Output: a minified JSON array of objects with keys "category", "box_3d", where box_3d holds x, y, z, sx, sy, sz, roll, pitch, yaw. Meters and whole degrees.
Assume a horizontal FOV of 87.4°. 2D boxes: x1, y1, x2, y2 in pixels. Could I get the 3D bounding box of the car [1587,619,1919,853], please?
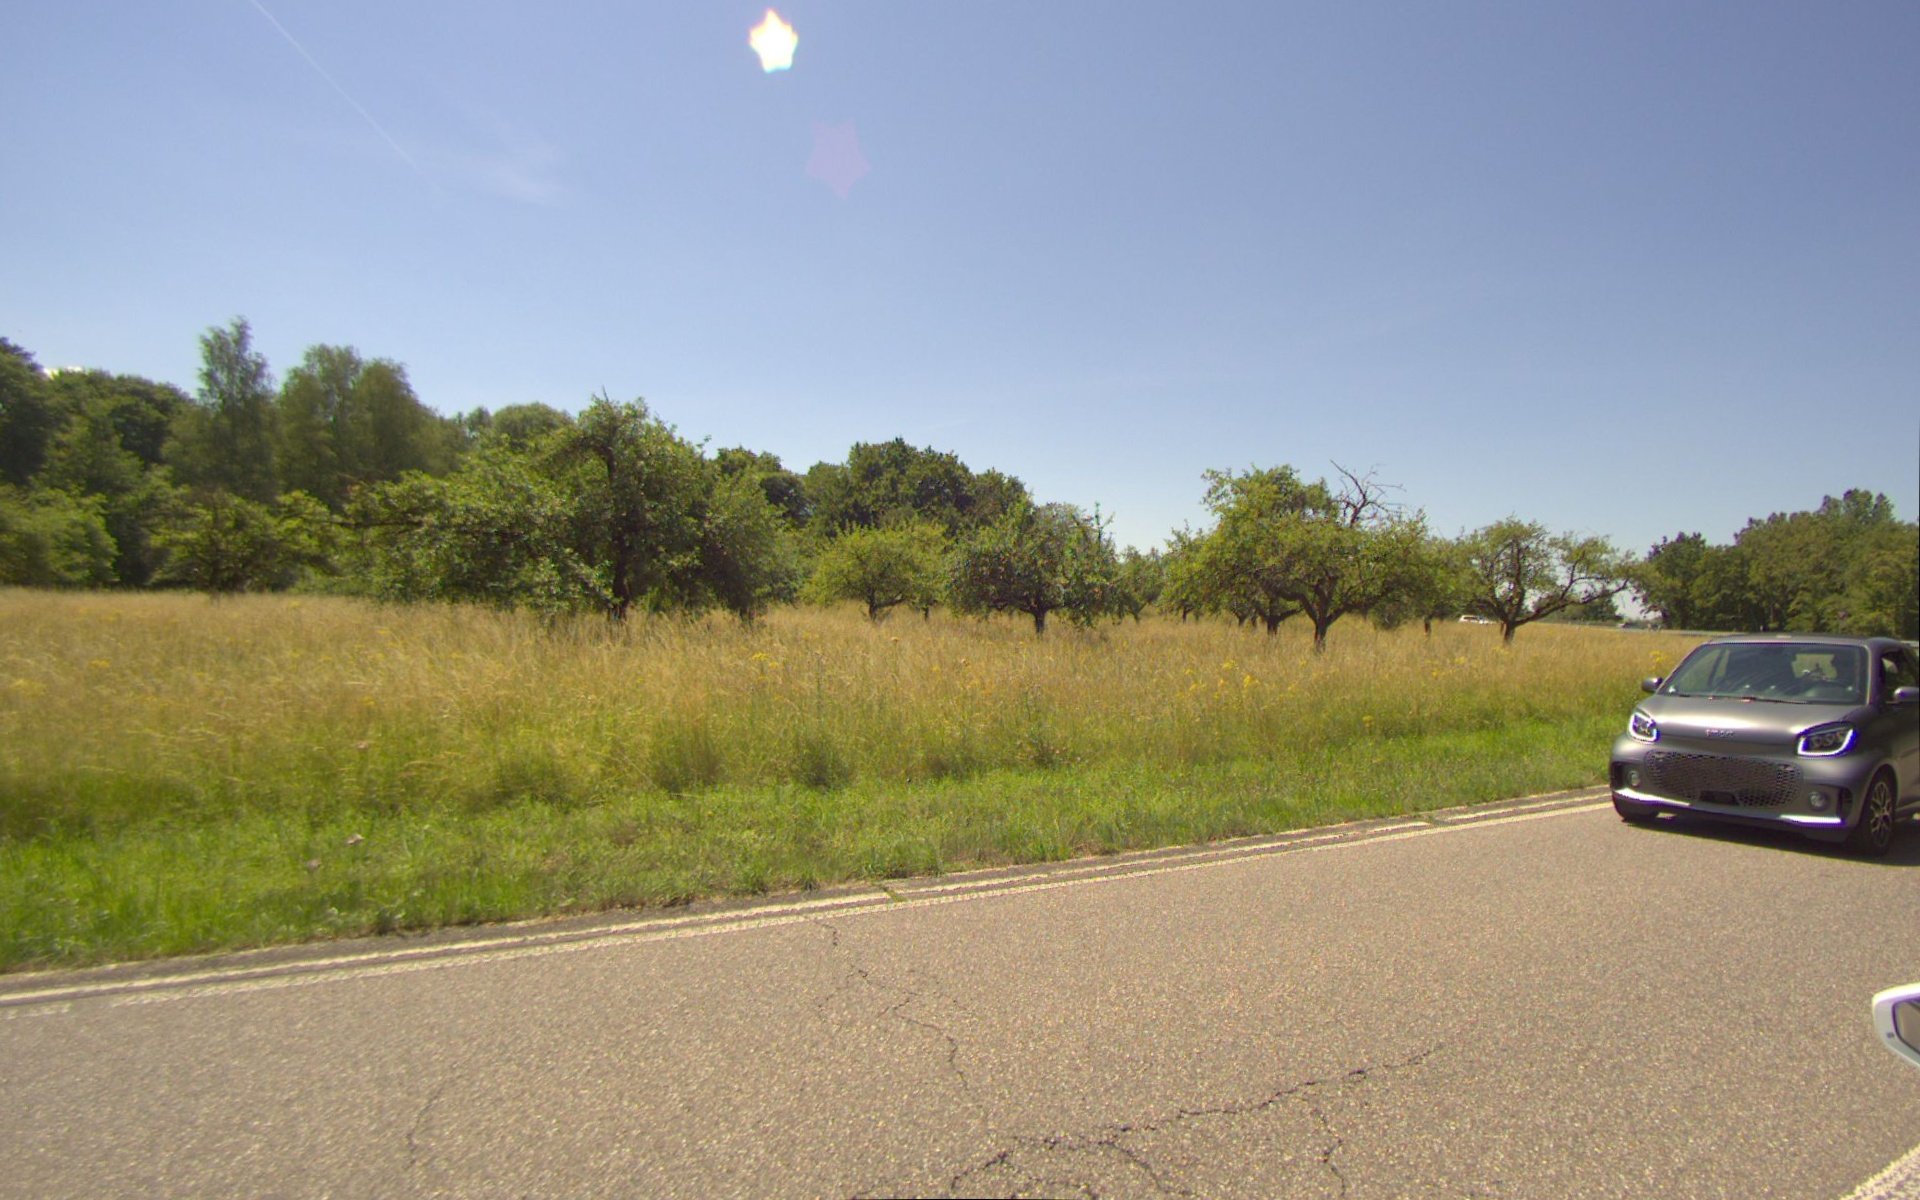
[{"category":"car","box_3d":[7.150,0.977,8.419,4.030,1.526,1.724,2,-3,-34]}]
